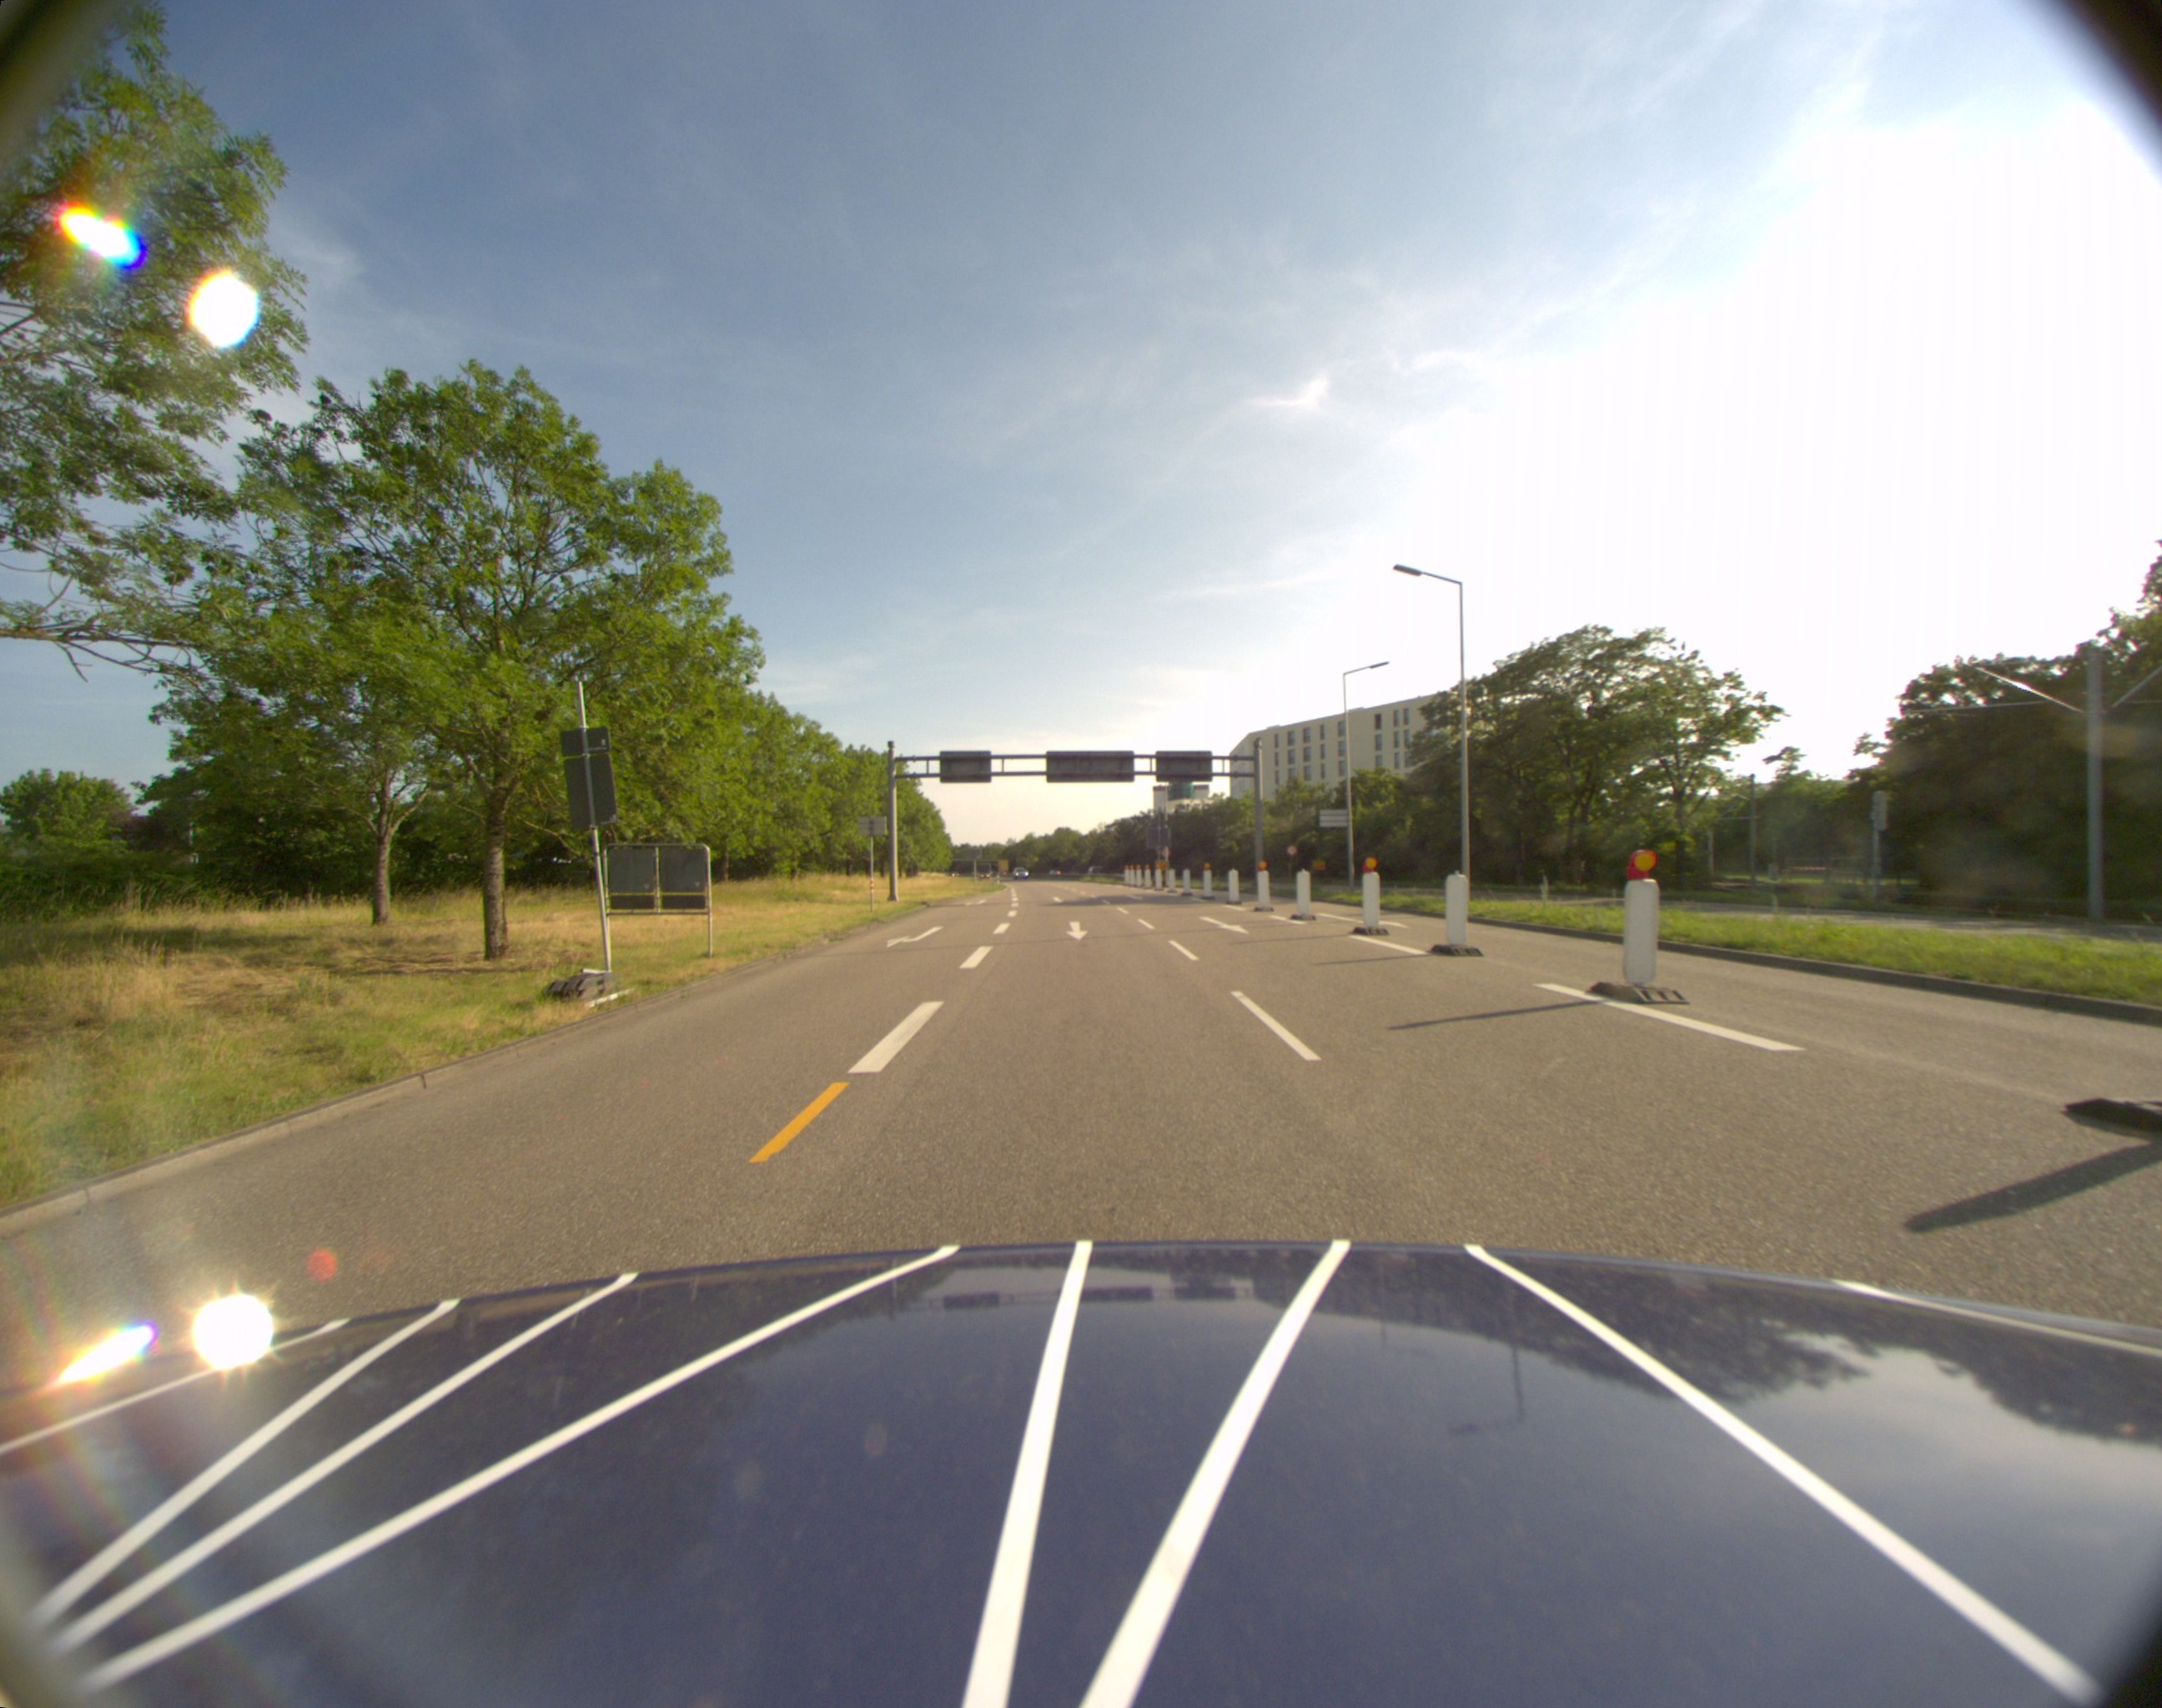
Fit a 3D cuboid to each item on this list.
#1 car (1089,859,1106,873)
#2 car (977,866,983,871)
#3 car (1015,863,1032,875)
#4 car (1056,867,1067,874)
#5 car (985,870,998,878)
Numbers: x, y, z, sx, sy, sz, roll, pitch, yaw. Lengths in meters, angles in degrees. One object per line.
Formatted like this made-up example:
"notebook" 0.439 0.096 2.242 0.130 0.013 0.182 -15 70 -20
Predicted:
"car" 2.311 1.679 107.108 1.790 1.796 4.122 -1 -1 -6
"car" -34.045 4.979 256.790 1.609 1.432 3.232 -2 -1 -13
"car" -9.108 2.429 120.027 1.903 1.813 4.351 -2 -1 -14
"car" -4.110 3.429 157.512 1.645 1.368 4.061 -2 -1 -9
"car" -17.202 3.859 146.076 1.903 1.377 4.351 -2 -1 -14
